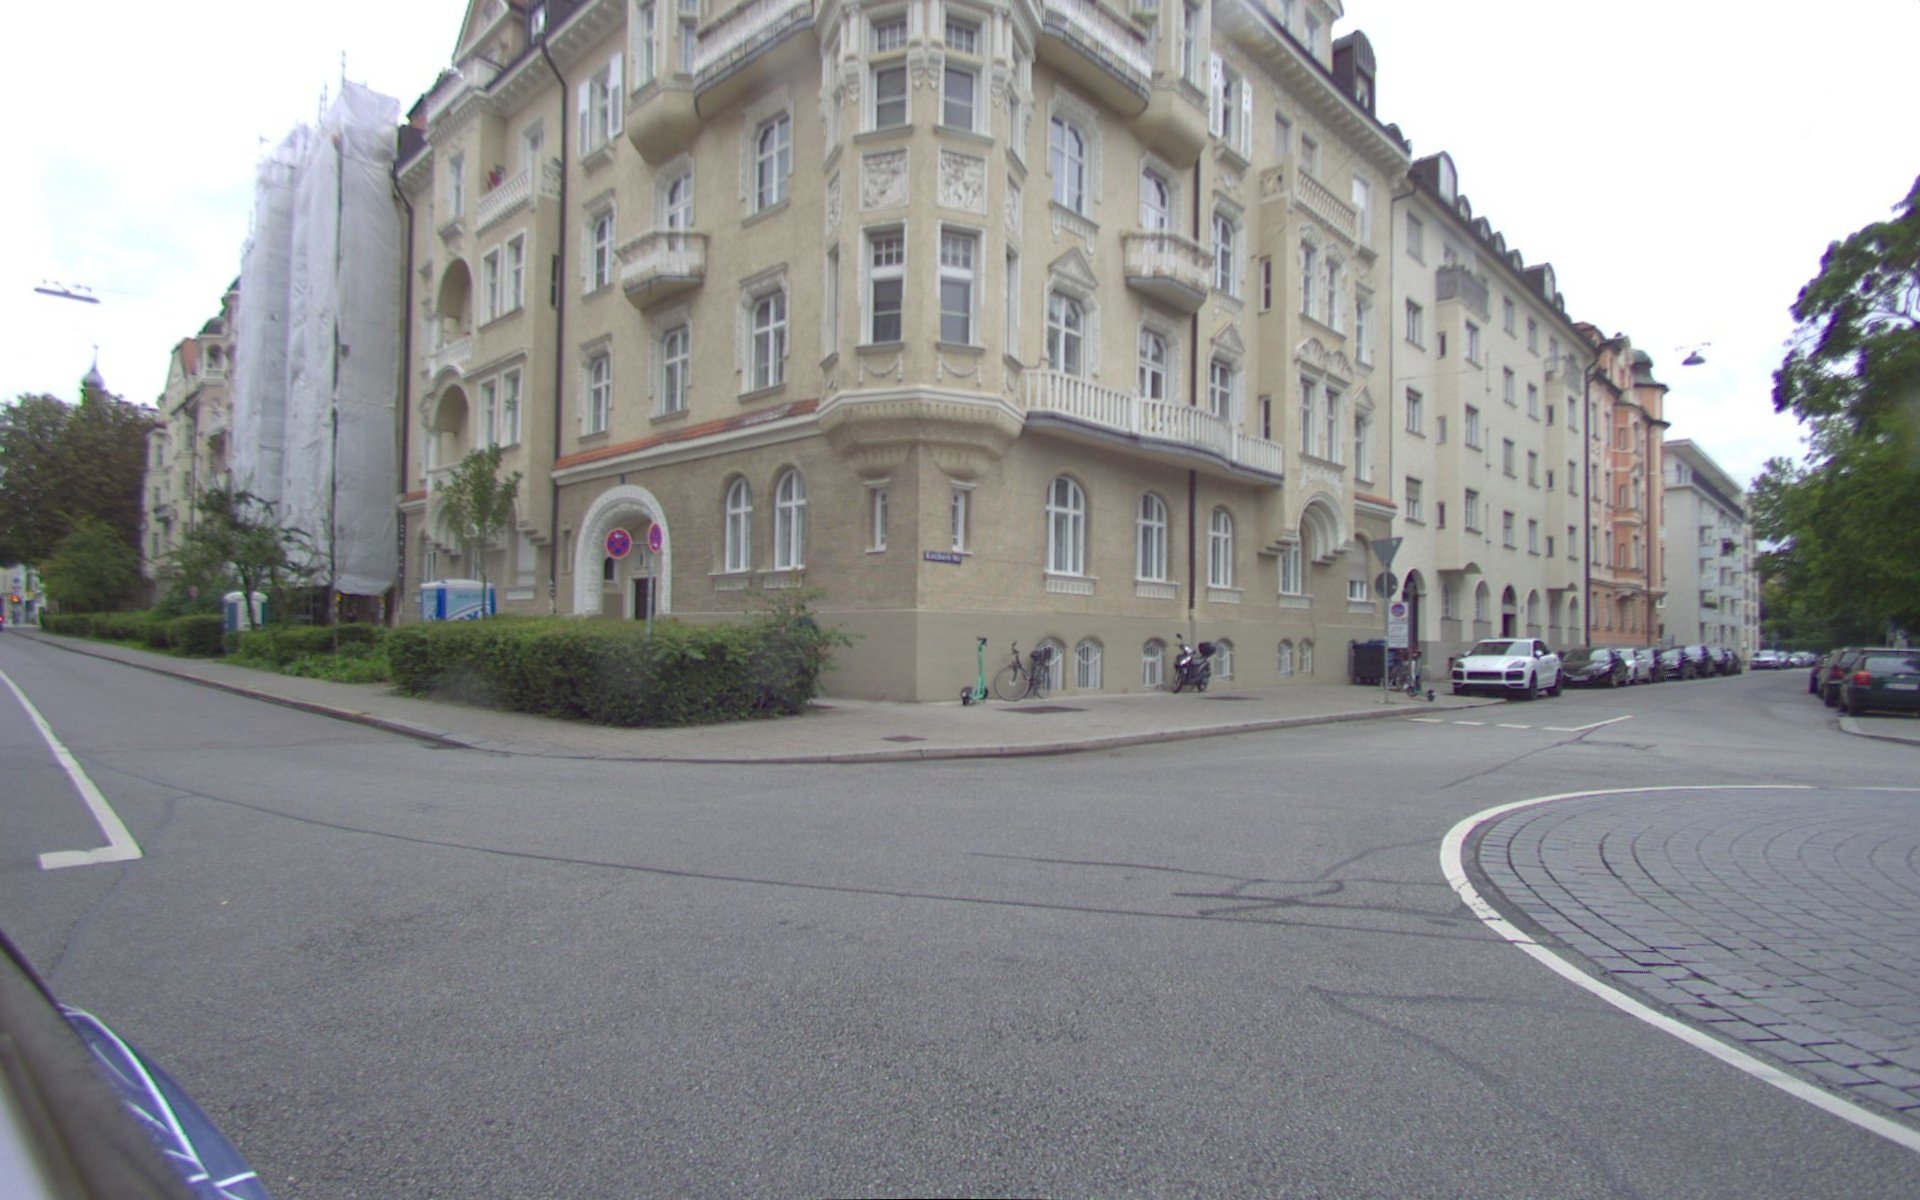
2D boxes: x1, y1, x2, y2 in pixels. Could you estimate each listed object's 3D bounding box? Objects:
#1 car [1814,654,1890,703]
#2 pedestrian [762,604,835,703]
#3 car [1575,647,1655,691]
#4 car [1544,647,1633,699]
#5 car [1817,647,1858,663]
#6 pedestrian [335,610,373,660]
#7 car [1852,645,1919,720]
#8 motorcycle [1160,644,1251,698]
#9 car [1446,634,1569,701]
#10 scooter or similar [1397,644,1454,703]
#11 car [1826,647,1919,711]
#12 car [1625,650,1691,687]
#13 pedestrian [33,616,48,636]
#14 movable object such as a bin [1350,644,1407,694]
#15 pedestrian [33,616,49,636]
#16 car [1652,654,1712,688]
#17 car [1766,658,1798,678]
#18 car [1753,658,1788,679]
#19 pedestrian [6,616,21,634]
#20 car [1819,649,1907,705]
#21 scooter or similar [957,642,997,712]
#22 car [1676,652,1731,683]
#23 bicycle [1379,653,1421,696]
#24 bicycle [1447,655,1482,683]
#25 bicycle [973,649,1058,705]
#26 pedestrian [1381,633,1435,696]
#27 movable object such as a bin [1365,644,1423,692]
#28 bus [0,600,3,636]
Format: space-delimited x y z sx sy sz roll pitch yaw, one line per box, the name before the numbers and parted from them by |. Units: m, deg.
car | 30.641 2.658 34.850 1.774 1.530 3.982 -1 -3 39
pedestrian | -3.089 1.006 19.348 1.055 1.824 0.879 -1 -3 39
car | 25.777 2.666 39.786 2.000 1.608 4.153 -1 -3 42
car | 22.498 2.562 36.186 2.000 1.704 4.153 -1 -3 42
car | 116.931 7.334 134.896 1.970 2.029 4.002 3 -3 -45
pedestrian | -21.767 1.246 36.338 0.948 1.765 0.903 -1 -3 44
car | 21.261 1.801 22.645 1.774 1.530 3.982 -1 -3 39
motorcycle | 5.848 1.668 24.009 1.007 1.189 2.527 -1 -3 42
car | 15.552 1.866 28.638 2.000 1.704 4.742 -1 -3 42
scooter or similar | 11.592 1.814 25.241 0.698 1.405 1.358 1 -2 -6
car | 24.304 2.036 26.940 1.774 1.530 3.982 -1 -3 39
car | 32.598 3.159 47.199 2.000 1.608 4.153 -1 -3 42
pedestrian | -80.332 2.249 88.429 0.911 1.758 0.863 -1 -3 43
movable object such as a bin | 13.050 2.134 31.567 1.345 1.468 1.146 -2 -3 44
pedestrian | -79.138 2.241 87.146 0.847 1.758 0.897 -1 -3 43
car | 36.547 3.548 51.212 2.000 1.608 4.153 -1 -3 42
car | 72.363 5.940 89.075 2.000 1.608 4.153 -1 -3 42
car | 65.777 5.525 82.117 2.000 1.608 4.153 -1 -3 42
pedestrian | -104.757 2.755 112.015 0.937 2.029 1.399 3 -3 -36
car | 27.201 2.268 30.594 1.774 1.530 3.982 -1 -3 39
scooter or similar | 0.287 1.350 18.013 0.521 1.175 1.358 1 -2 -6
car | 40.609 3.654 55.254 2.000 1.608 4.153 -1 -3 42
bicycle | 12.309 2.062 28.309 0.550 1.158 1.820 -1 -3 41
bicycle | 19.481 2.654 39.061 0.624 1.054 2.184 -1 -3 42
bicycle | 1.095 1.469 19.568 0.560 1.030 1.856 -1 -3 43
pedestrian | 13.394 1.916 30.256 1.133 1.818 1.253 -2 -3 44
movable object such as a bin | 13.956 2.167 32.560 1.345 1.468 1.277 -2 -3 44
bus | -86.543 1.558 89.354 8.927 3.124 2.550 -1 -3 45
